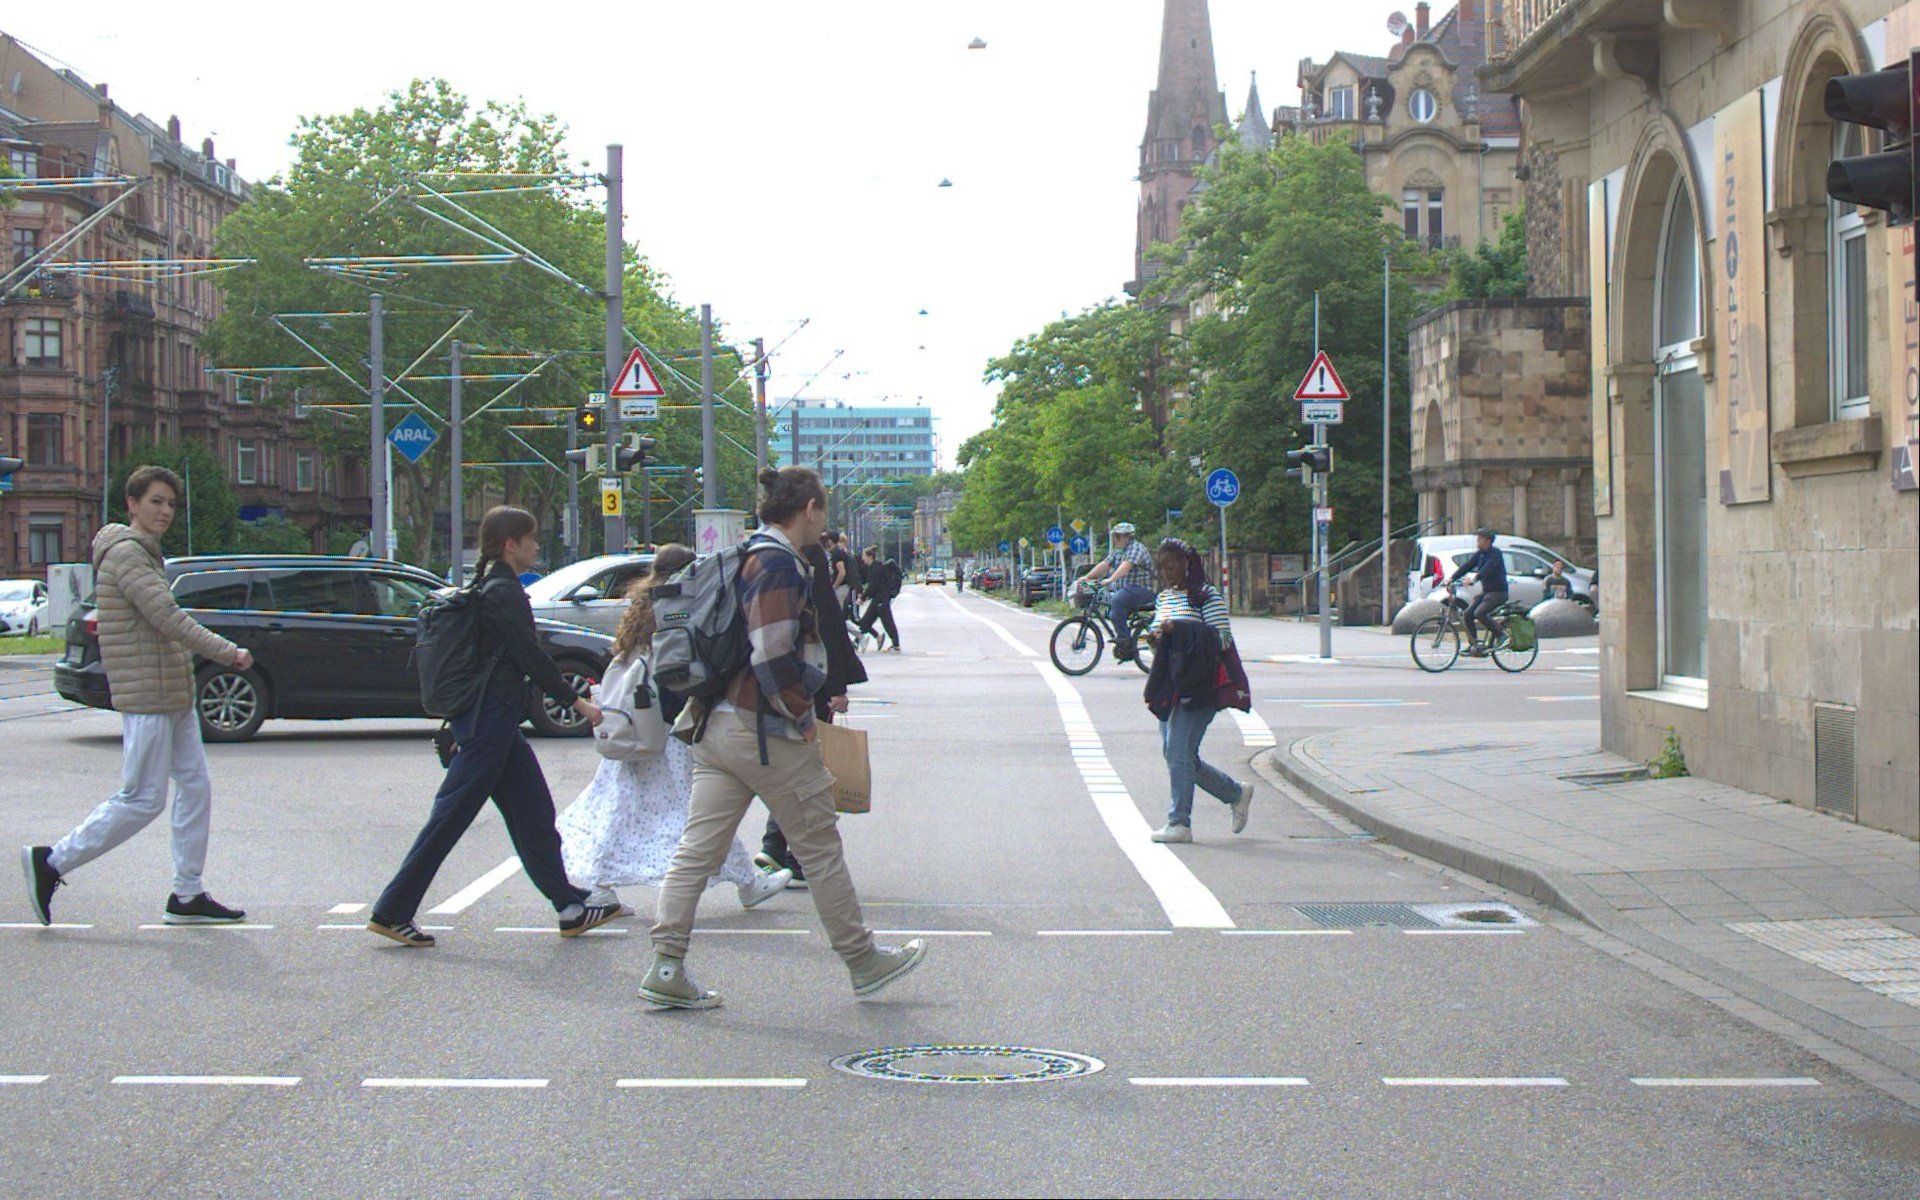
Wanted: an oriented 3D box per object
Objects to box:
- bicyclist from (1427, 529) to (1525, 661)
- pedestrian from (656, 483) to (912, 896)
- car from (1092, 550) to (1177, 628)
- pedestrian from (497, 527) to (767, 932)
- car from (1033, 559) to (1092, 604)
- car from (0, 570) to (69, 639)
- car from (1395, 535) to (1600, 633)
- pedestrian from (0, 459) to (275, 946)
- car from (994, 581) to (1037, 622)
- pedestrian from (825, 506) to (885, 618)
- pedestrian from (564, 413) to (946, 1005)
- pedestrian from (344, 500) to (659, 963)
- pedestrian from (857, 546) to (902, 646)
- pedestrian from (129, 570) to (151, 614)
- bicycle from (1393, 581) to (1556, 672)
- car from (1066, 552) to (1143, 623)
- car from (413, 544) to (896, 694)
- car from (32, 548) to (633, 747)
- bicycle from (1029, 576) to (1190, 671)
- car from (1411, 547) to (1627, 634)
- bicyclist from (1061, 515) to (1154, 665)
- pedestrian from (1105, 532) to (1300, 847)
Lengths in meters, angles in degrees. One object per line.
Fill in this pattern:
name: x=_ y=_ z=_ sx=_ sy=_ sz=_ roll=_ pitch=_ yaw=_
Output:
bicyclist: x=6.617 y=-0.063 z=44.088 sx=1.038 sy=1.678 sz=0.645 roll=1 pitch=0 yaw=-20
pedestrian: x=-0.785 y=0.379 z=15.346 sx=0.917 sy=1.778 sz=0.646 roll=1 pitch=0 yaw=37
car: x=4.621 y=-0.301 z=91.581 sx=1.993 sy=2.007 sz=4.000 roll=1 pitch=0 yaw=-1
pedestrian: x=-1.336 y=0.506 z=14.051 sx=0.702 sy=1.587 sz=0.829 roll=1 pitch=0 yaw=37
car: x=3.832 y=-0.709 z=129.646 sx=1.993 sy=1.602 sz=4.164 roll=-2 pitch=0 yaw=-1
car: x=-22.242 y=0.077 z=80.267 sx=1.894 sy=1.552 sz=3.836 roll=1 pitch=0 yaw=-1
car: x=10.838 y=-0.328 z=69.482 sx=3.799 sy=1.897 sz=2.000 roll=1 pitch=0 yaw=0
pedestrian: x=-3.213 y=0.381 z=13.227 sx=1.011 sy=1.807 sz=0.585 roll=1 pitch=0 yaw=-23
car: x=2.787 y=0.069 z=173.547 sx=1.993 sy=2.007 sz=4.000 roll=1 pitch=0 yaw=-1
pedestrian: x=-1.565 y=-0.570 z=51.177 sx=0.850 sy=1.648 sz=0.508 roll=1 pitch=0 yaw=-2
pedestrian: x=-0.638 y=0.325 z=10.940 sx=0.627 sy=1.772 sz=1.131 roll=0 pitch=0 yaw=37
pedestrian: x=-1.703 y=0.464 z=12.831 sx=0.627 sy=1.647 sz=0.994 roll=1 pitch=0 yaw=37
pedestrian: x=-1.251 y=-0.063 z=53.221 sx=0.653 sy=1.532 sz=0.466 roll=1 pitch=0 yaw=-5
pedestrian: x=-27.316 y=-0.256 z=114.509 sx=0.452 sy=1.455 sz=0.524 roll=1 pitch=0 yaw=29
bicycle: x=6.591 y=0.340 z=44.071 sx=1.937 sy=1.132 sz=0.736 roll=1 pitch=0 yaw=-21
car: x=4.216 y=-0.385 z=100.833 sx=1.993 sy=2.007 sz=4.000 roll=1 pitch=0 yaw=-1
car: x=-3.209 y=0.200 z=36.126 sx=4.716 sy=1.505 sz=1.839 roll=1 pitch=0 yaw=-22
car: x=-5.055 y=0.364 z=27.768 sx=4.431 sy=1.505 sz=1.839 roll=1 pitch=0 yaw=-25
bicycle: x=1.825 y=0.290 z=41.944 sx=1.899 sy=1.138 sz=0.629 roll=1 pitch=0 yaw=-29
car: x=10.717 y=-0.193 z=66.072 sx=3.799 sy=1.595 sz=2.000 roll=1 pitch=0 yaw=0
bicyclist: x=1.800 y=-0.120 z=41.937 sx=0.965 sy=1.813 sz=0.532 roll=1 pitch=0 yaw=-29
pedestrian: x=1.329 y=0.472 z=18.801 sx=0.671 sy=1.674 sz=0.866 roll=1 pitch=0 yaw=38
